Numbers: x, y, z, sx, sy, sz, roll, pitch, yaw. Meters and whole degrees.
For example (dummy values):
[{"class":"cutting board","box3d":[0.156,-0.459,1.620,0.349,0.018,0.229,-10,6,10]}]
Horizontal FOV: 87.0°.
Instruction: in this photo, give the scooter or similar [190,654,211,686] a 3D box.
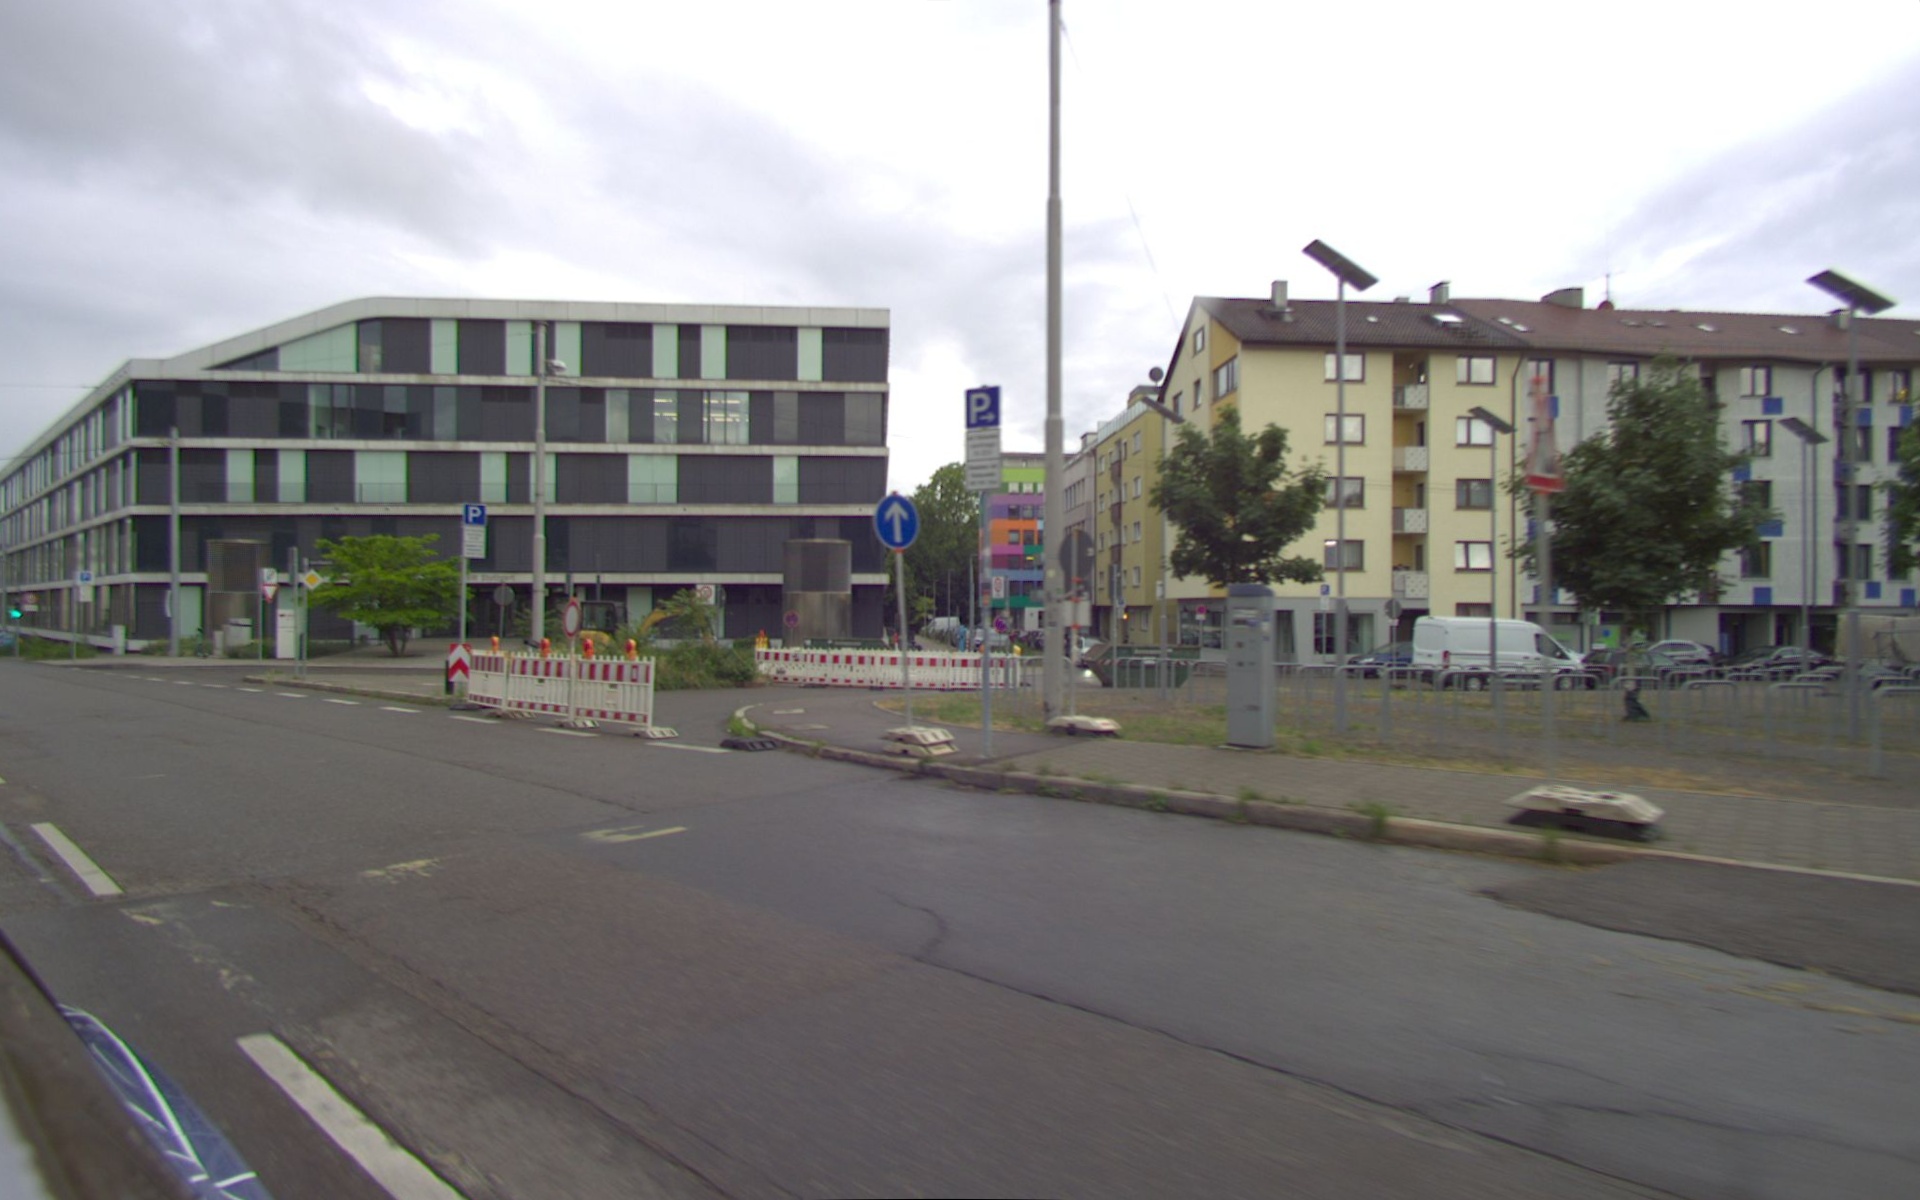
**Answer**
[{"class":"scooter or similar","box3d":[-31.320,2.875,41.733,1.231,1.258,0.491,-2,-1,43]}]

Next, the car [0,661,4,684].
[{"class":"car","box3d":[-64.140,4.806,66.548,3.583,1.478,1.619,-3,-2,43]}]

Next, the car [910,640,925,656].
[{"class":"car","box3d":[-5.440,6.117,128.647,1.773,2.029,4.004,0,-3,-5]}]

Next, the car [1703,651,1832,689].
[{"class":"car","box3d":[33.139,2.866,41.595,3.938,1.522,1.802,0,-4,-6]}]

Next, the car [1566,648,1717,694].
[{"class":"car","box3d":[23.183,2.428,34.505,3.939,1.522,1.802,0,-4,-5]}]

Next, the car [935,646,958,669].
[{"class":"car","box3d":[-1.258,5.129,90.666,1.773,2.029,4.004,0,-3,-5]}]

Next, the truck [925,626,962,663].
[{"class":"truck","box3d":[-2.730,7.056,157.216,4.749,5.440,13.916,0,-3,-5]}]

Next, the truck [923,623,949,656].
[{"class":"truck","box3d":[-3.354,5.445,138.759,2.954,4.396,8.007,0,-3,-5]}]

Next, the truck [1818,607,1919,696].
[{"class":"truck","box3d":[33.943,1.830,35.576,5.208,2.954,2.784,0,-4,-6]}]

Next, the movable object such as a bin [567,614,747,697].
[{"class":"movable object such as a bin","box3d":[-9.544,1.743,32.097,5.218,2.478,1.670,-1,-2,2]}]

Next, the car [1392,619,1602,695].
[{"class":"car","box3d":[18.016,1.947,34.171,5.643,2.432,2.678,1,-4,-7]}]

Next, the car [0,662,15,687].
[{"class":"car","box3d":[-60.564,4.670,63.343,3.581,1.478,1.621,-3,-2,40]}]

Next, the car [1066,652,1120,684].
[{"class":"car","box3d":[6.519,3.335,50.014,1.773,1.522,4.004,0,-3,-5]}]

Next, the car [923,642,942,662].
[{"class":"car","box3d":[-2.998,5.608,109.158,1.773,2.029,4.004,0,-3,-5]}]

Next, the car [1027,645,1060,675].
[{"class":"car","box3d":[6.232,4.504,76.167,1.773,2.170,4.004,0,-3,-5]}]

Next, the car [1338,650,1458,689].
[{"class":"car","box3d":[17.460,2.783,40.440,3.938,1.522,1.802,1,-4,-6]}]
